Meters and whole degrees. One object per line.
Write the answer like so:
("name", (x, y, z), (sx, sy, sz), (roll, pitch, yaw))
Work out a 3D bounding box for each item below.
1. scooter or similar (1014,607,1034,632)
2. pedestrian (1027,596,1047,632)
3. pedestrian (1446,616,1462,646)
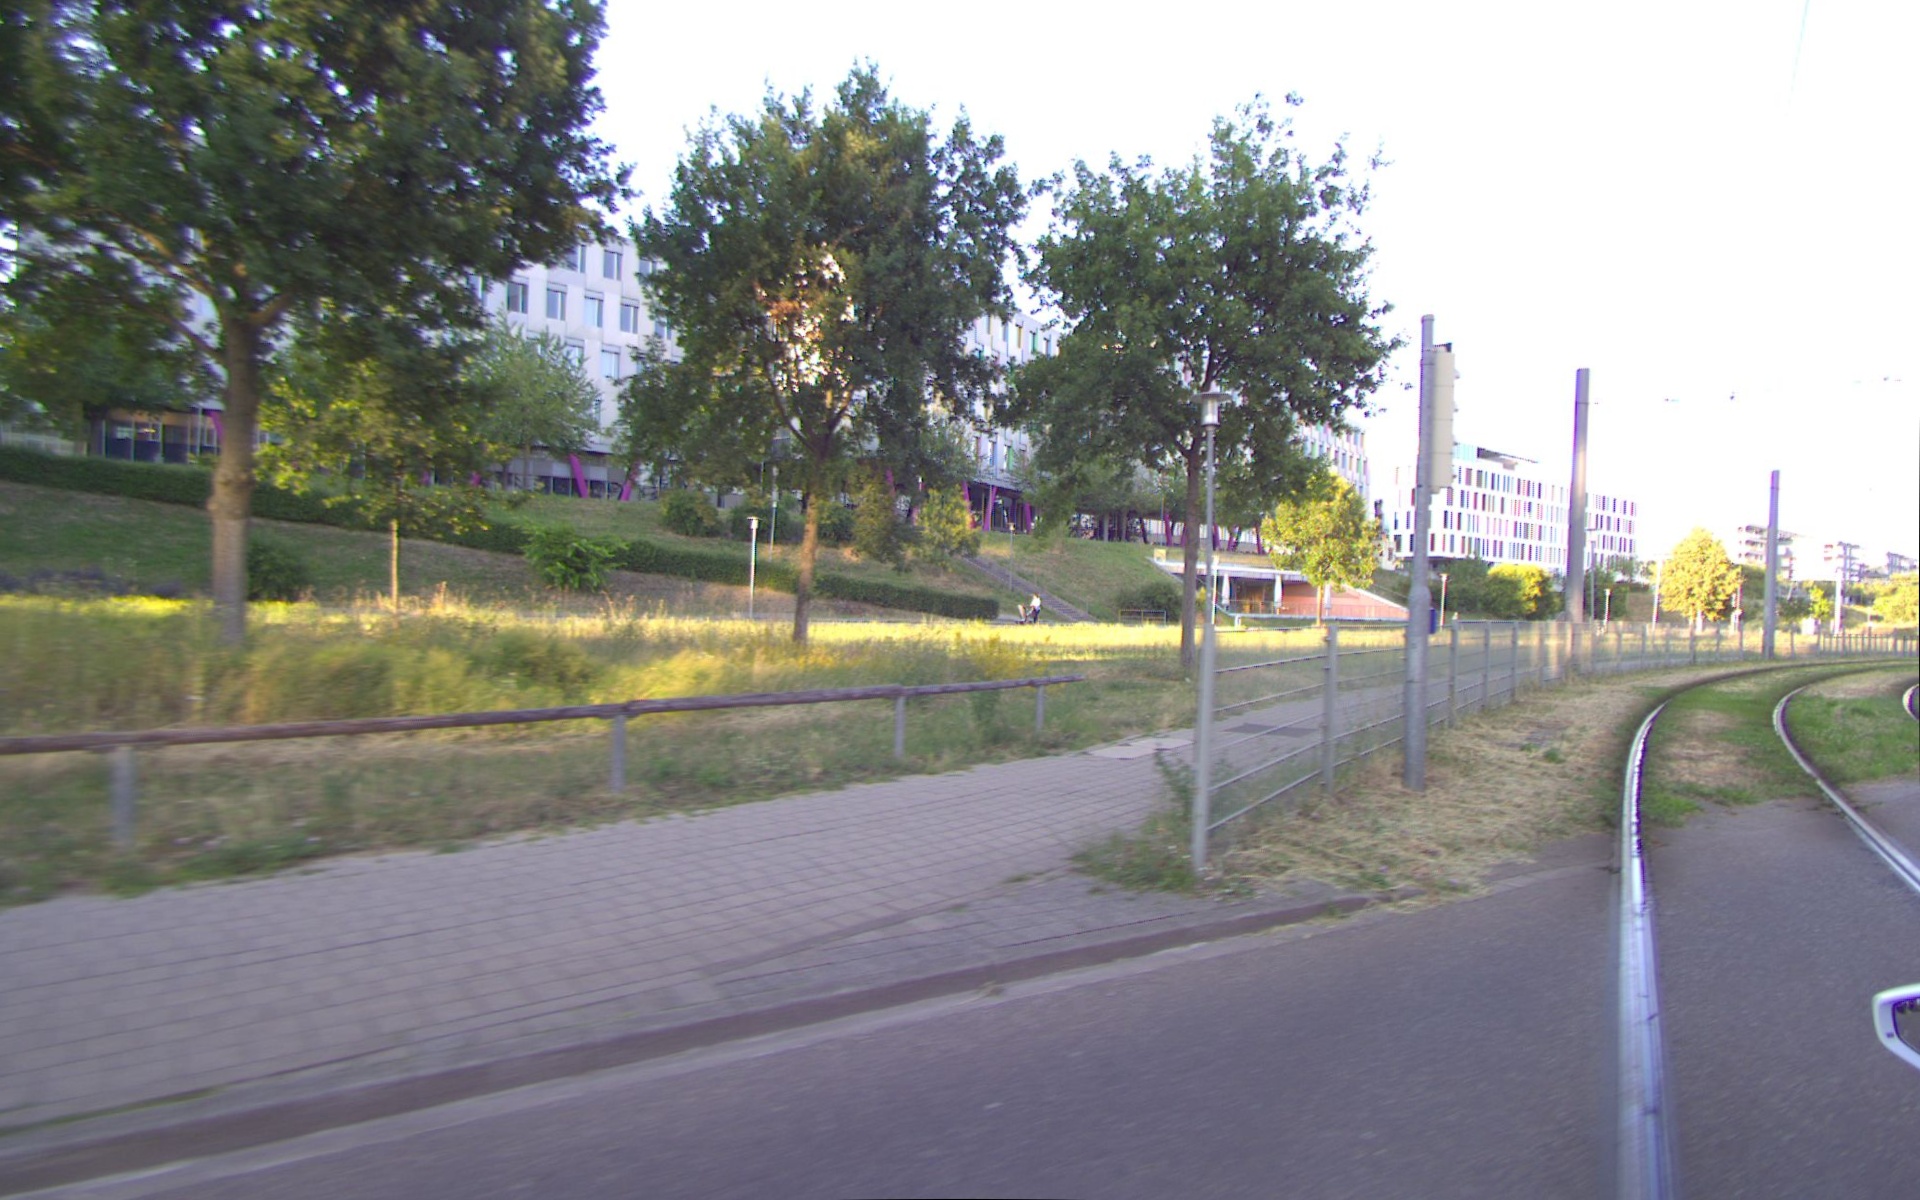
("scooter or similar", (3.334, 1.025, 52.094), (0.781, 1.260, 0.613), (1, 2, -31))
("pedestrian", (4.041, 0.745, 52.547), (0.781, 1.861, 0.613), (1, 2, -31))
("pedestrian", (36.406, 2.279, 74.026), (0.781, 2.110, 0.613), (1, 2, -31))
